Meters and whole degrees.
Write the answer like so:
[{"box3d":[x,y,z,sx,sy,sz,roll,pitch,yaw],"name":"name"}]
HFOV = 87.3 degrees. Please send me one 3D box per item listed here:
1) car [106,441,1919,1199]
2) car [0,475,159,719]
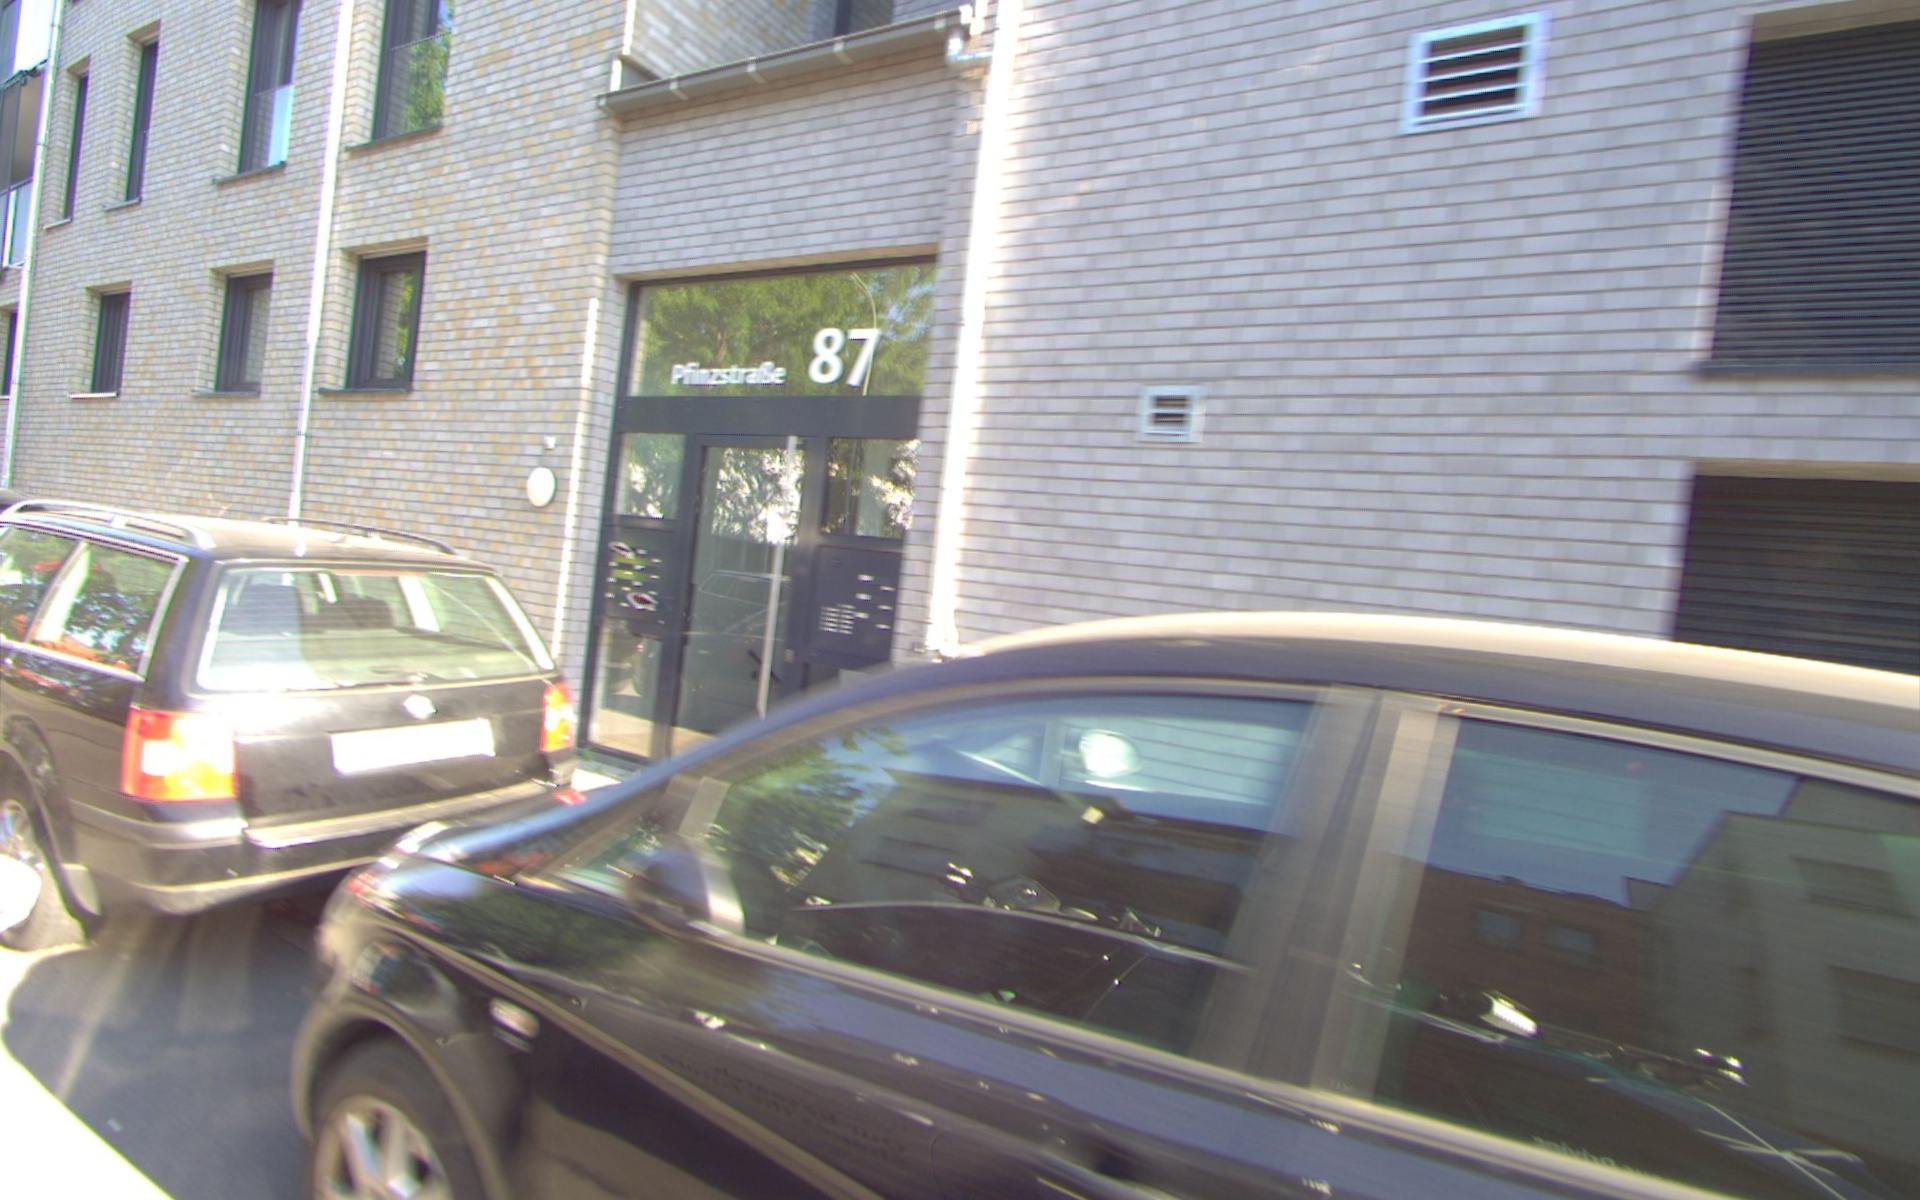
[{"box3d":[0.203,0.762,2.050,3.847,1.723,1.667,7,0,30],"name":"car"},{"box3d":[-8.314,-0.248,7.710,4.544,1.606,1.860,7,0,31],"name":"car"}]
